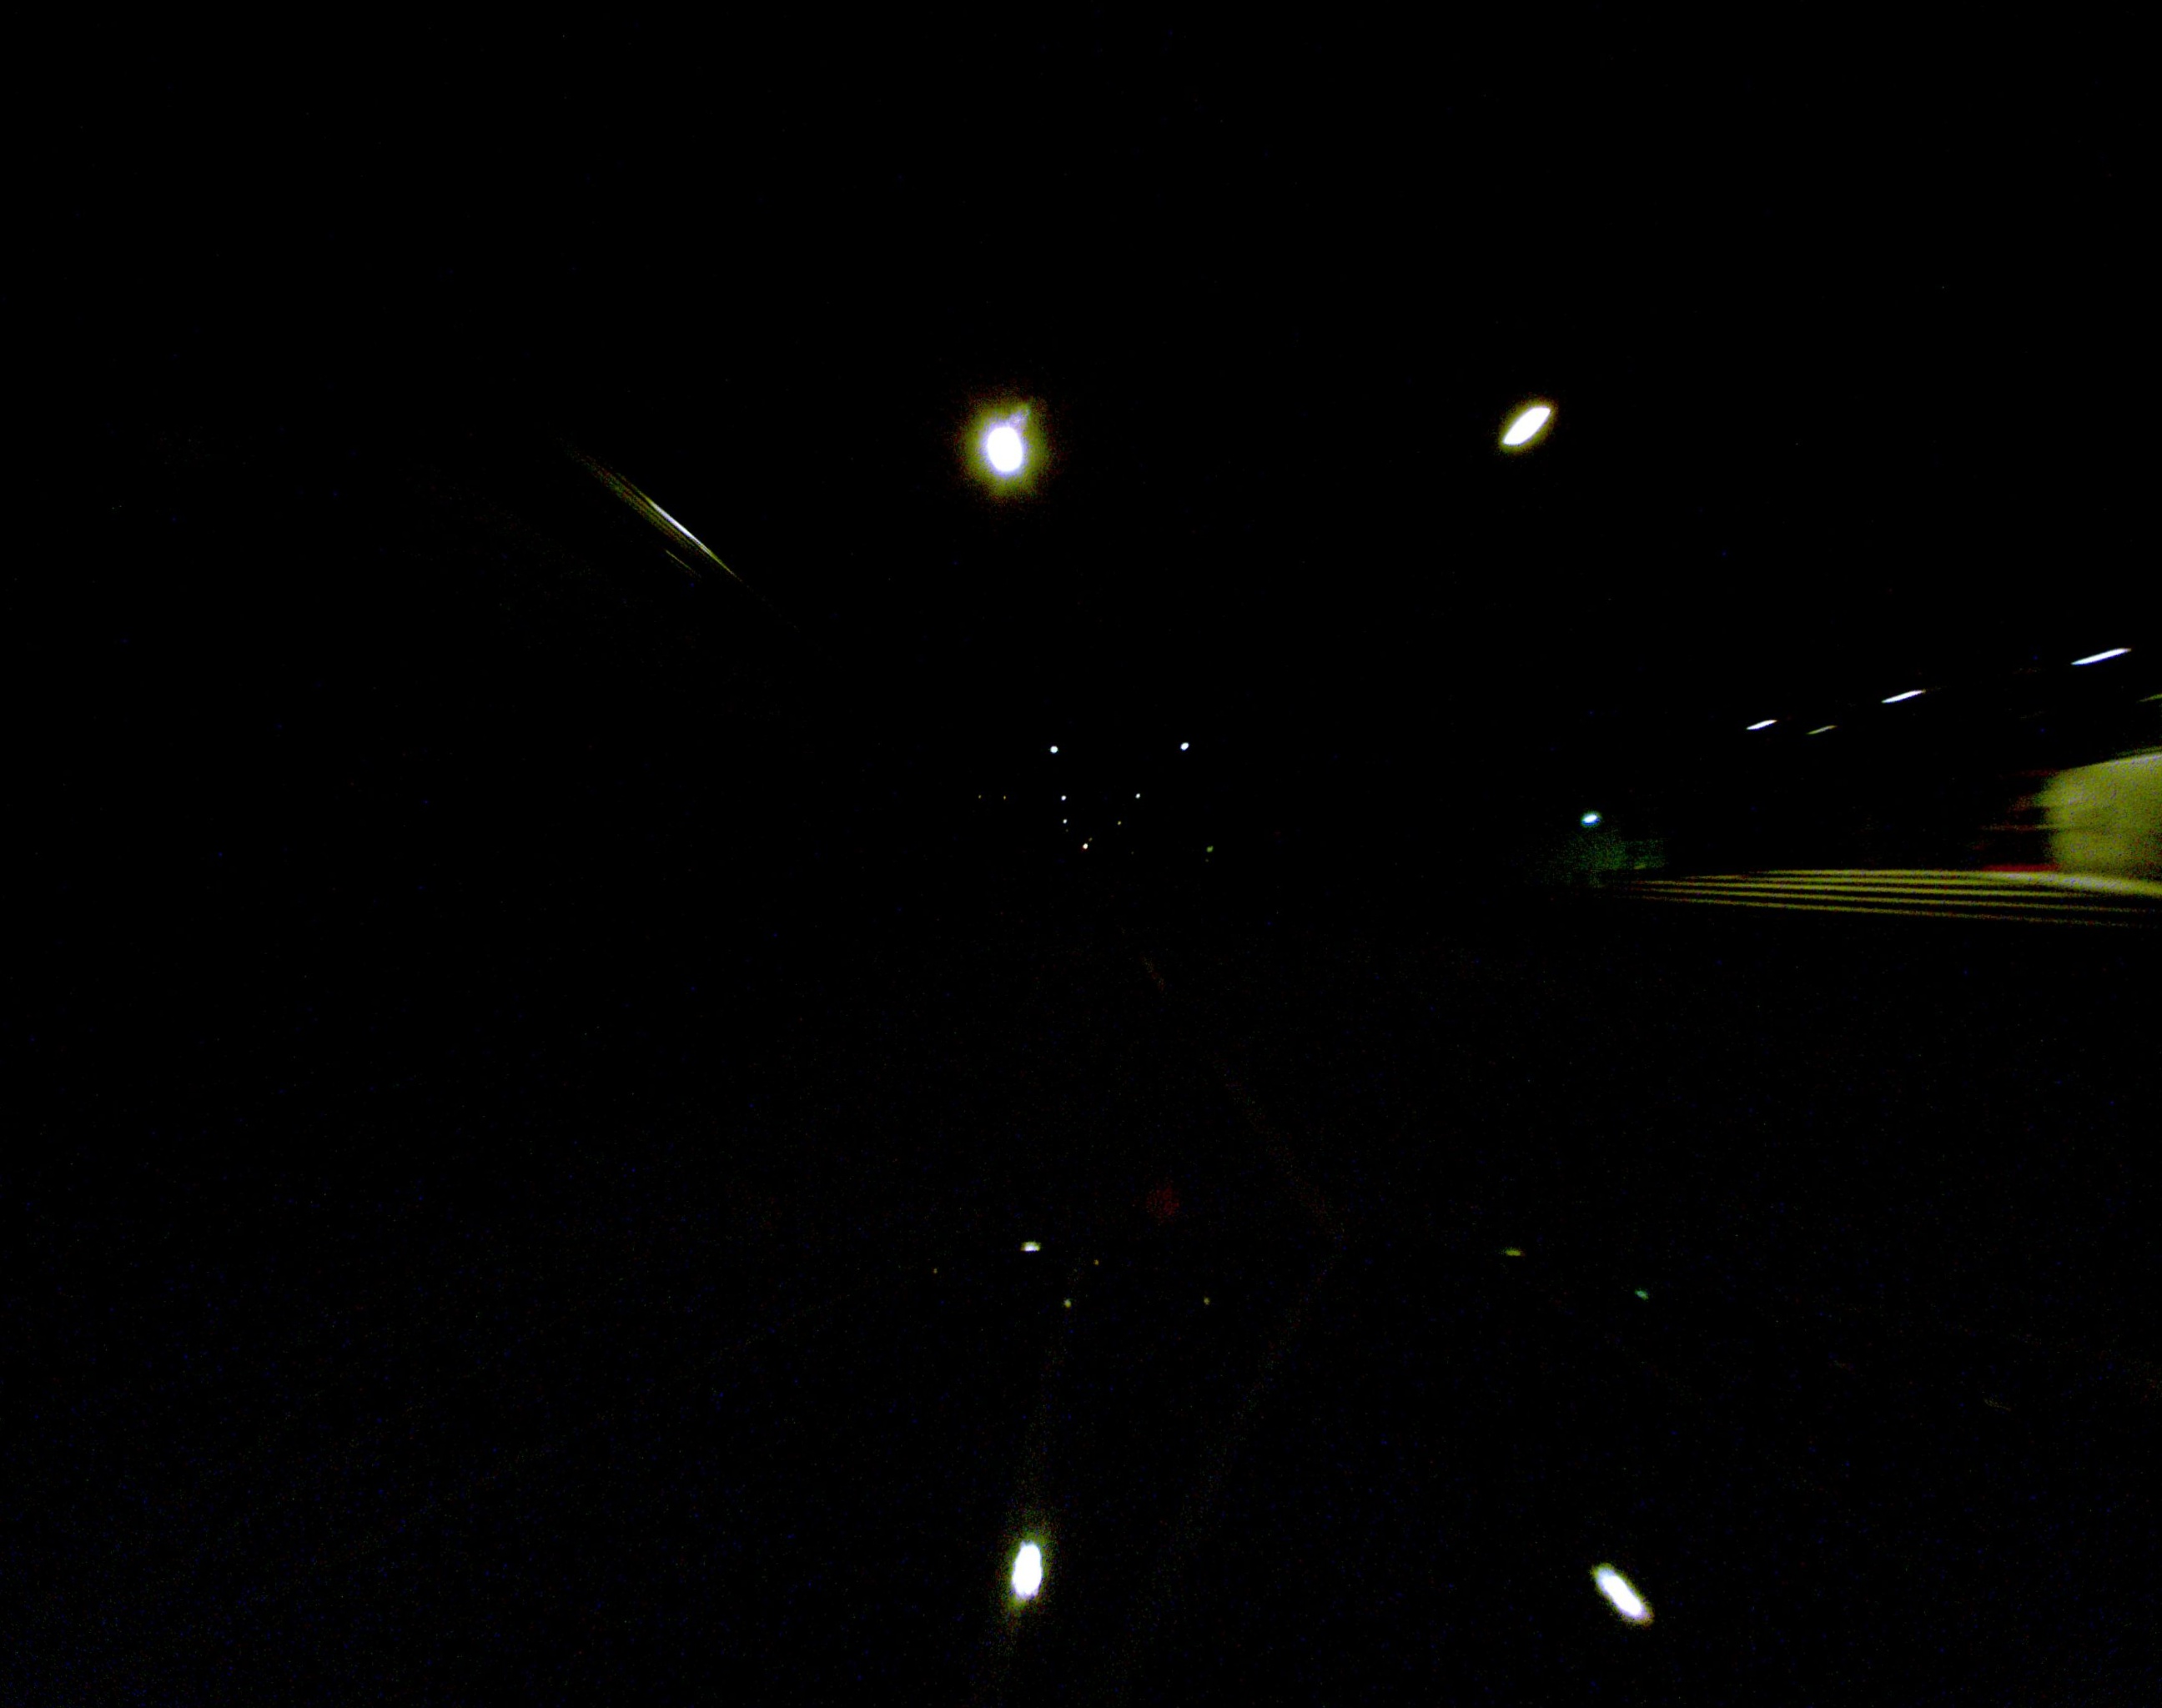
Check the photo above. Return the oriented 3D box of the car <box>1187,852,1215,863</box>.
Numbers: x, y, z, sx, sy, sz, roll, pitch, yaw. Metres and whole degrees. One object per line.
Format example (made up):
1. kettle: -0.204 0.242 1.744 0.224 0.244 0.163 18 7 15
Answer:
1. car: 18.758 0.528 118.780 3.998 1.455 1.806 -5 0 -3

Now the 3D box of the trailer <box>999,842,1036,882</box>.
1. trailer: -4.367 0.516 53.100 1.998 2.635 4.001 -2 0 2

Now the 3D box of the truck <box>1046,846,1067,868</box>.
1. truck: -4.450 0.479 140.359 2.515 3.814 12.662 -2 0 4

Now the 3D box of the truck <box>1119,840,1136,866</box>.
1. truck: 8.055 -0.202 132.294 2.644 4.290 12.824 1 1 2

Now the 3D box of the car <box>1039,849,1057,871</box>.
1. car: -4.049 0.733 94.606 1.945 2.533 6.646 -2 0 0

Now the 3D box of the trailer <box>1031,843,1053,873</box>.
1. trailer: -4.507 0.443 88.207 2.405 3.306 4.361 -2 0 -3

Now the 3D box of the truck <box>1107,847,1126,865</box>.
1. truck: 7.413 0.397 160.144 2.829 3.610 10.398 -2 0 -4

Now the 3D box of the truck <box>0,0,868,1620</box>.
1. truck: -4.206 -0.140 4.290 3.332 3.846 9.326 -2 0 0

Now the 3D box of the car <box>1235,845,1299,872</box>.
1. car: 14.343 0.366 58.807 4.443 1.960 2.000 -2 0 -1
